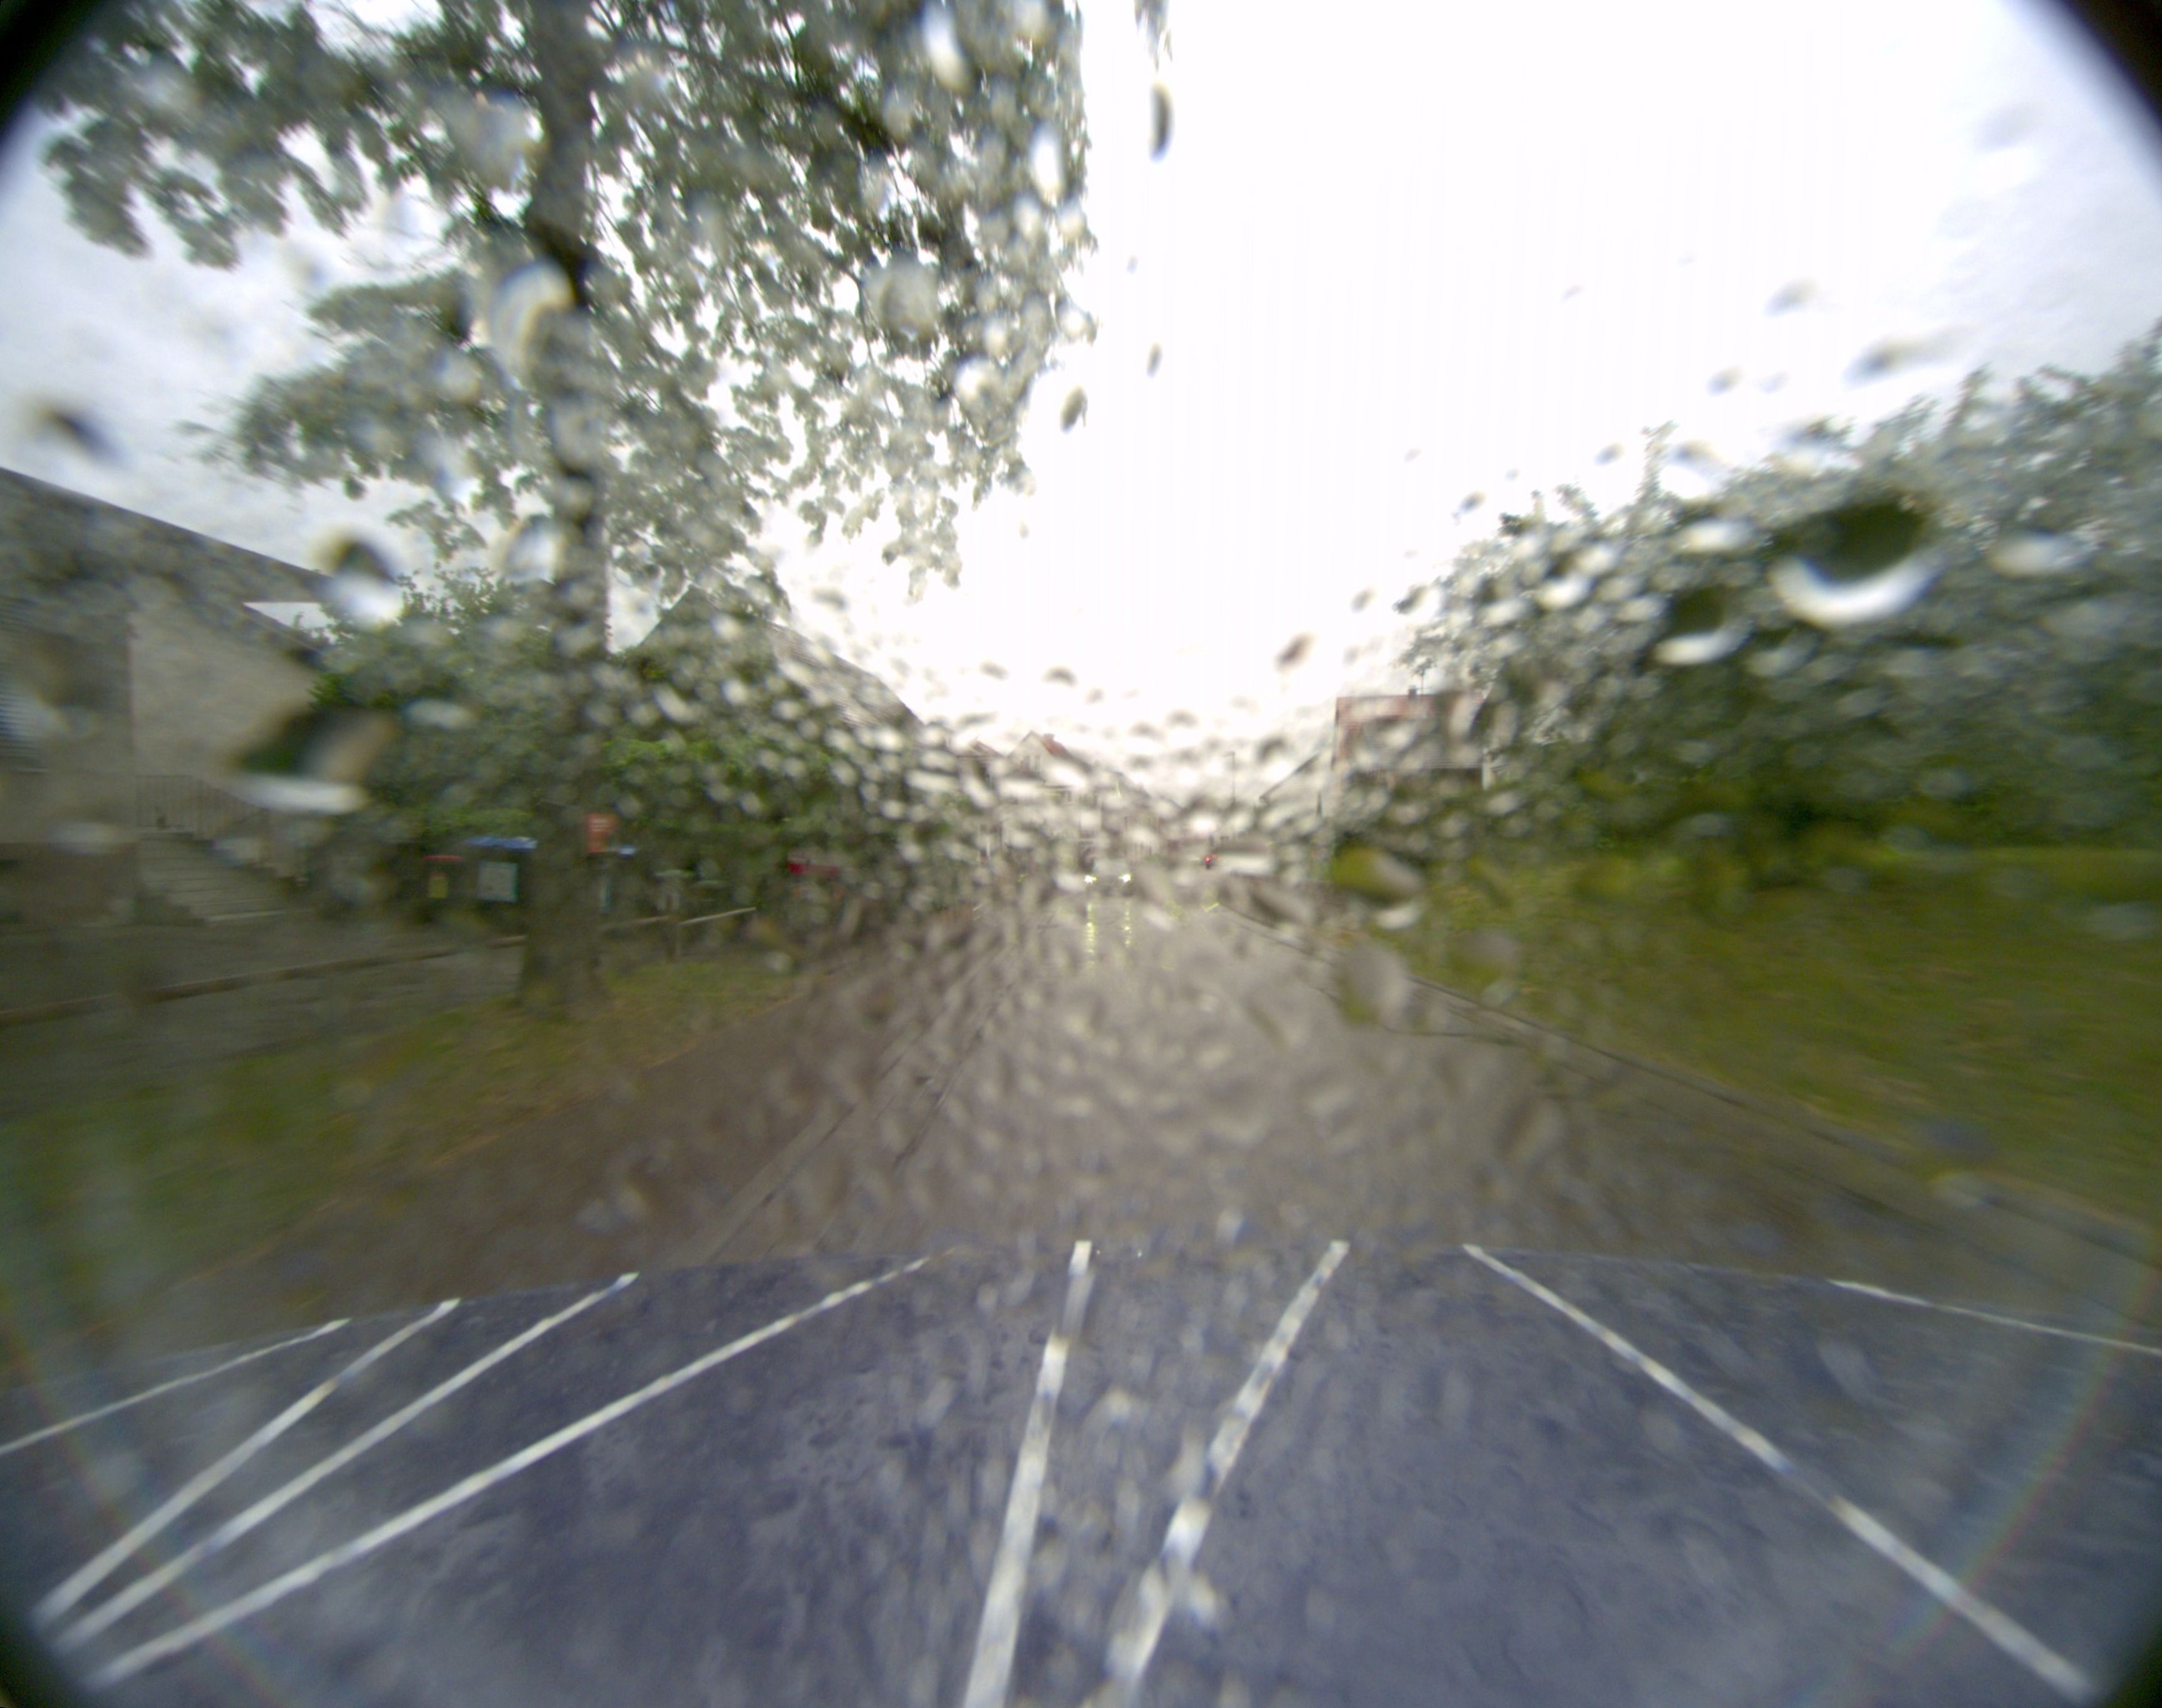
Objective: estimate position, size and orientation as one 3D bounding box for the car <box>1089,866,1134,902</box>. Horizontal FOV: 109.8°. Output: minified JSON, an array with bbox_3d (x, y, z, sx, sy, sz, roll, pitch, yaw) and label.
[{"bbox_3d":[1.199,1.146,30.303,1.667,1.290,3.519,-2,0,2],"label":"car"}]

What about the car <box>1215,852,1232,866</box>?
[{"bbox_3d":[18.929,0.648,100.902,1.836,1.663,5.202,1,1,15],"label":"car"}]

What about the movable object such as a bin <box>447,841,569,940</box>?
[{"bbox_3d":[-8.951,0.548,11.905,1.238,1.428,0.795,4,1,-1],"label":"movable object such as a bin"}]

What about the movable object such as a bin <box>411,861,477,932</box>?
[{"bbox_3d":[-10.035,0.658,11.984,0.568,1.073,0.530,3,1,-1],"label":"movable object such as a bin"}]

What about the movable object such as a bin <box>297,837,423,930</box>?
[{"bbox_3d":[-11.203,0.444,11.840,1.151,1.335,0.795,4,1,0],"label":"movable object such as a bin"}]

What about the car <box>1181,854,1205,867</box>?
[{"bbox_3d":[15.164,0.885,103.018,1.892,1.566,3.887,-3,0,-12],"label":"car"}]

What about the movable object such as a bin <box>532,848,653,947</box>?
[{"bbox_3d":[-7.507,0.652,11.723,1.296,1.410,0.795,3,1,-1],"label":"movable object such as a bin"}]

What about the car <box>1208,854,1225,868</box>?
[{"bbox_3d":[15.919,0.860,89.137,1.702,1.538,3.855,2,0,14],"label":"car"}]

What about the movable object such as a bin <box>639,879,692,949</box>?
[{"bbox_3d":[-6.482,0.926,11.866,0.538,1.017,0.463,3,1,-1],"label":"movable object such as a bin"}]
